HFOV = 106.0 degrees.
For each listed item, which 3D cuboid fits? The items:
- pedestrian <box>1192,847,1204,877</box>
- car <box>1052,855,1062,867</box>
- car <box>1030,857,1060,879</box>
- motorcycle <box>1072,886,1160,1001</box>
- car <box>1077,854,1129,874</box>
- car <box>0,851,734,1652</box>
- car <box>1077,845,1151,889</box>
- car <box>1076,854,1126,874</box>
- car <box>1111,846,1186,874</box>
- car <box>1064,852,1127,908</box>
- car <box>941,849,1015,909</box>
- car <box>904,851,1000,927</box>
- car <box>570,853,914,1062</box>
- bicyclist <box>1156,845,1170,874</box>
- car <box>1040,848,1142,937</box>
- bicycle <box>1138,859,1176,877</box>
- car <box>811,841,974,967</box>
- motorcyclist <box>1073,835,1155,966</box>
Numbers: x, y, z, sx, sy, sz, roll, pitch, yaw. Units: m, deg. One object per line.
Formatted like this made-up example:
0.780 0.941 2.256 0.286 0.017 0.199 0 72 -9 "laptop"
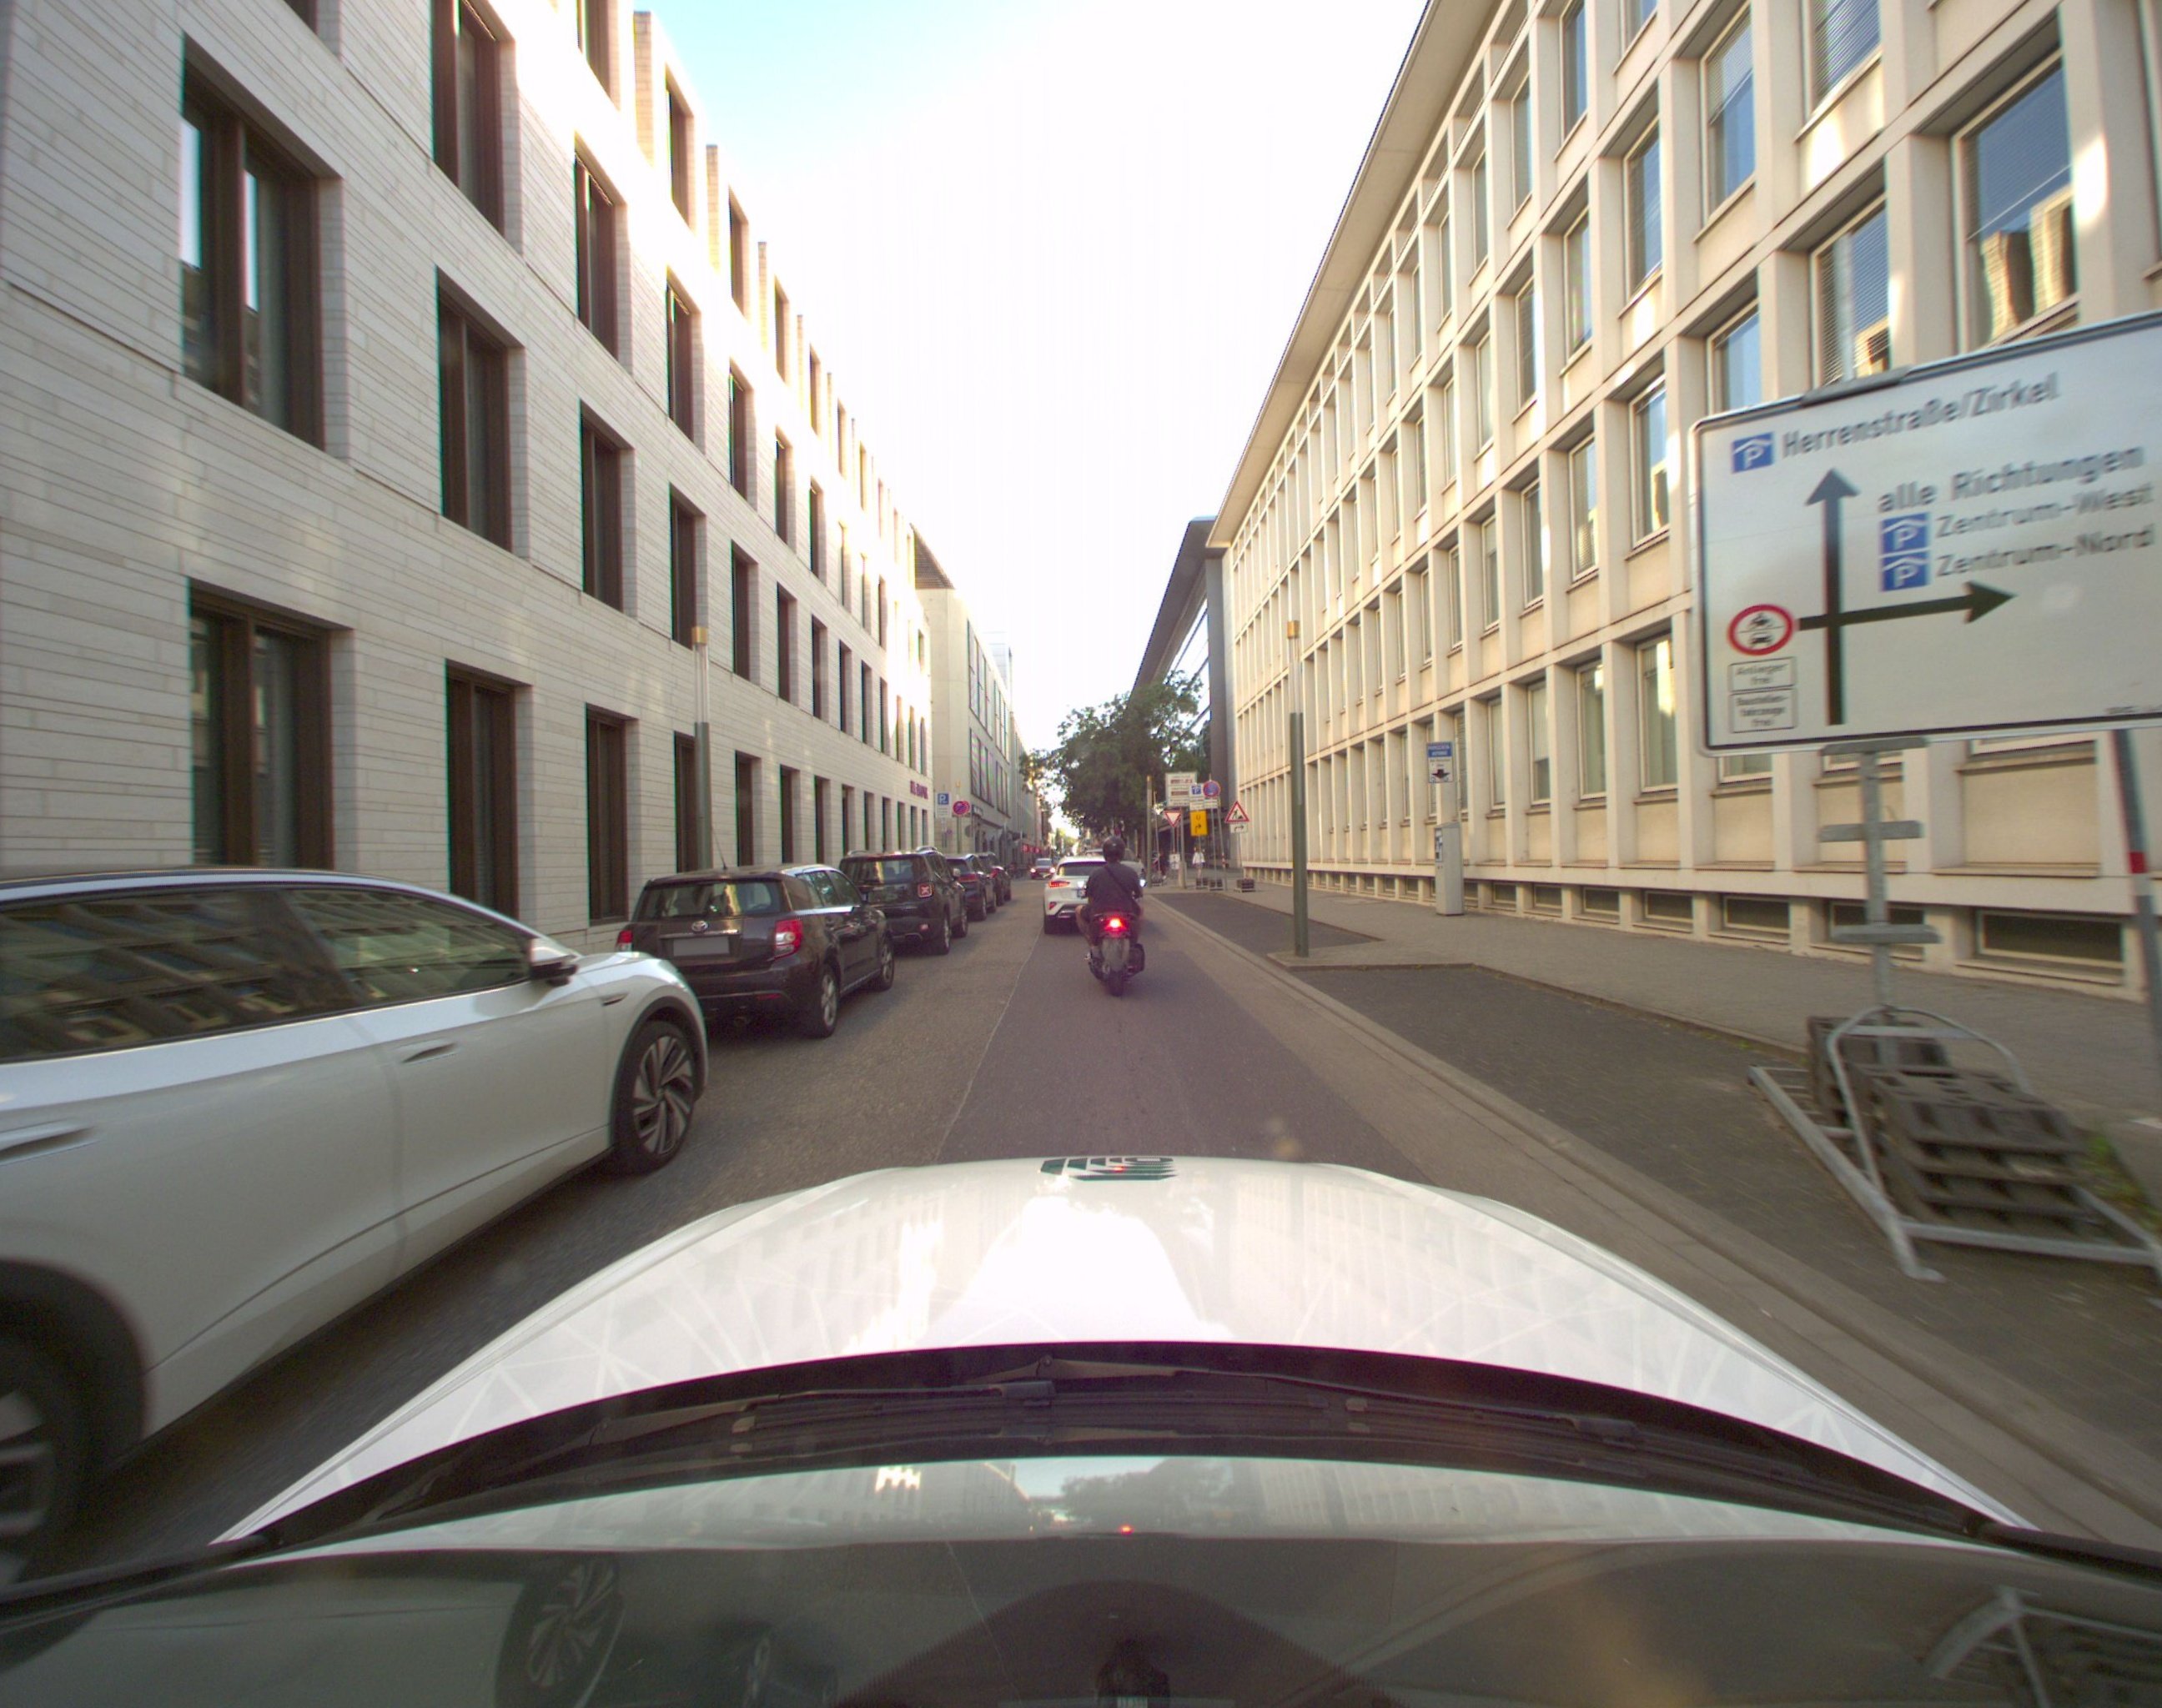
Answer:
6.264 0.430 43.623 0.557 1.584 0.598 -1 -1 1 "pedestrian"
-5.100 1.465 171.159 1.989 2.329 5.015 0 0 -3 "car"
-2.638 1.082 60.600 1.815 1.465 4.264 -2 -2 2 "car"
0.365 0.943 9.194 0.869 1.109 1.839 -1 -1 1 "motorcycle"
2.217 0.993 83.162 4.994 1.499 1.998 -6 -1 -3 "car"
-2.996 0.768 2.634 1.816 1.541 4.446 0 0 0 "car"
1.581 0.544 37.019 1.806 1.645 4.519 -4 0 22 "car"
2.088 1.059 85.629 4.994 1.499 1.998 -6 -1 -3 "car"
4.763 0.422 57.913 4.994 1.451 1.998 -6 -1 -3 "car"
0.395 0.771 26.658 1.817 1.541 4.362 -4 0 -1 "car"
-3.237 0.731 26.331 1.817 1.677 4.261 -4 0 -1 "car"
-3.112 0.772 20.445 1.735 1.594 4.152 -4 0 -1 "car"
-3.071 0.804 8.484 1.817 1.541 4.261 -2 0 -1 "car"
4.654 0.326 46.199 0.625 1.625 0.500 -2 -1 17 "bicyclist"
0.141 0.692 16.947 1.817 1.541 4.261 -2 0 -1 "car"
4.330 0.811 46.277 2.086 0.995 0.520 -2 -1 14 "bicycle"
-3.021 0.724 13.960 1.817 1.714 4.015 -4 0 -1 "car"
0.364 0.516 9.205 0.864 1.427 0.455 -1 -1 0 "motorcyclist"
